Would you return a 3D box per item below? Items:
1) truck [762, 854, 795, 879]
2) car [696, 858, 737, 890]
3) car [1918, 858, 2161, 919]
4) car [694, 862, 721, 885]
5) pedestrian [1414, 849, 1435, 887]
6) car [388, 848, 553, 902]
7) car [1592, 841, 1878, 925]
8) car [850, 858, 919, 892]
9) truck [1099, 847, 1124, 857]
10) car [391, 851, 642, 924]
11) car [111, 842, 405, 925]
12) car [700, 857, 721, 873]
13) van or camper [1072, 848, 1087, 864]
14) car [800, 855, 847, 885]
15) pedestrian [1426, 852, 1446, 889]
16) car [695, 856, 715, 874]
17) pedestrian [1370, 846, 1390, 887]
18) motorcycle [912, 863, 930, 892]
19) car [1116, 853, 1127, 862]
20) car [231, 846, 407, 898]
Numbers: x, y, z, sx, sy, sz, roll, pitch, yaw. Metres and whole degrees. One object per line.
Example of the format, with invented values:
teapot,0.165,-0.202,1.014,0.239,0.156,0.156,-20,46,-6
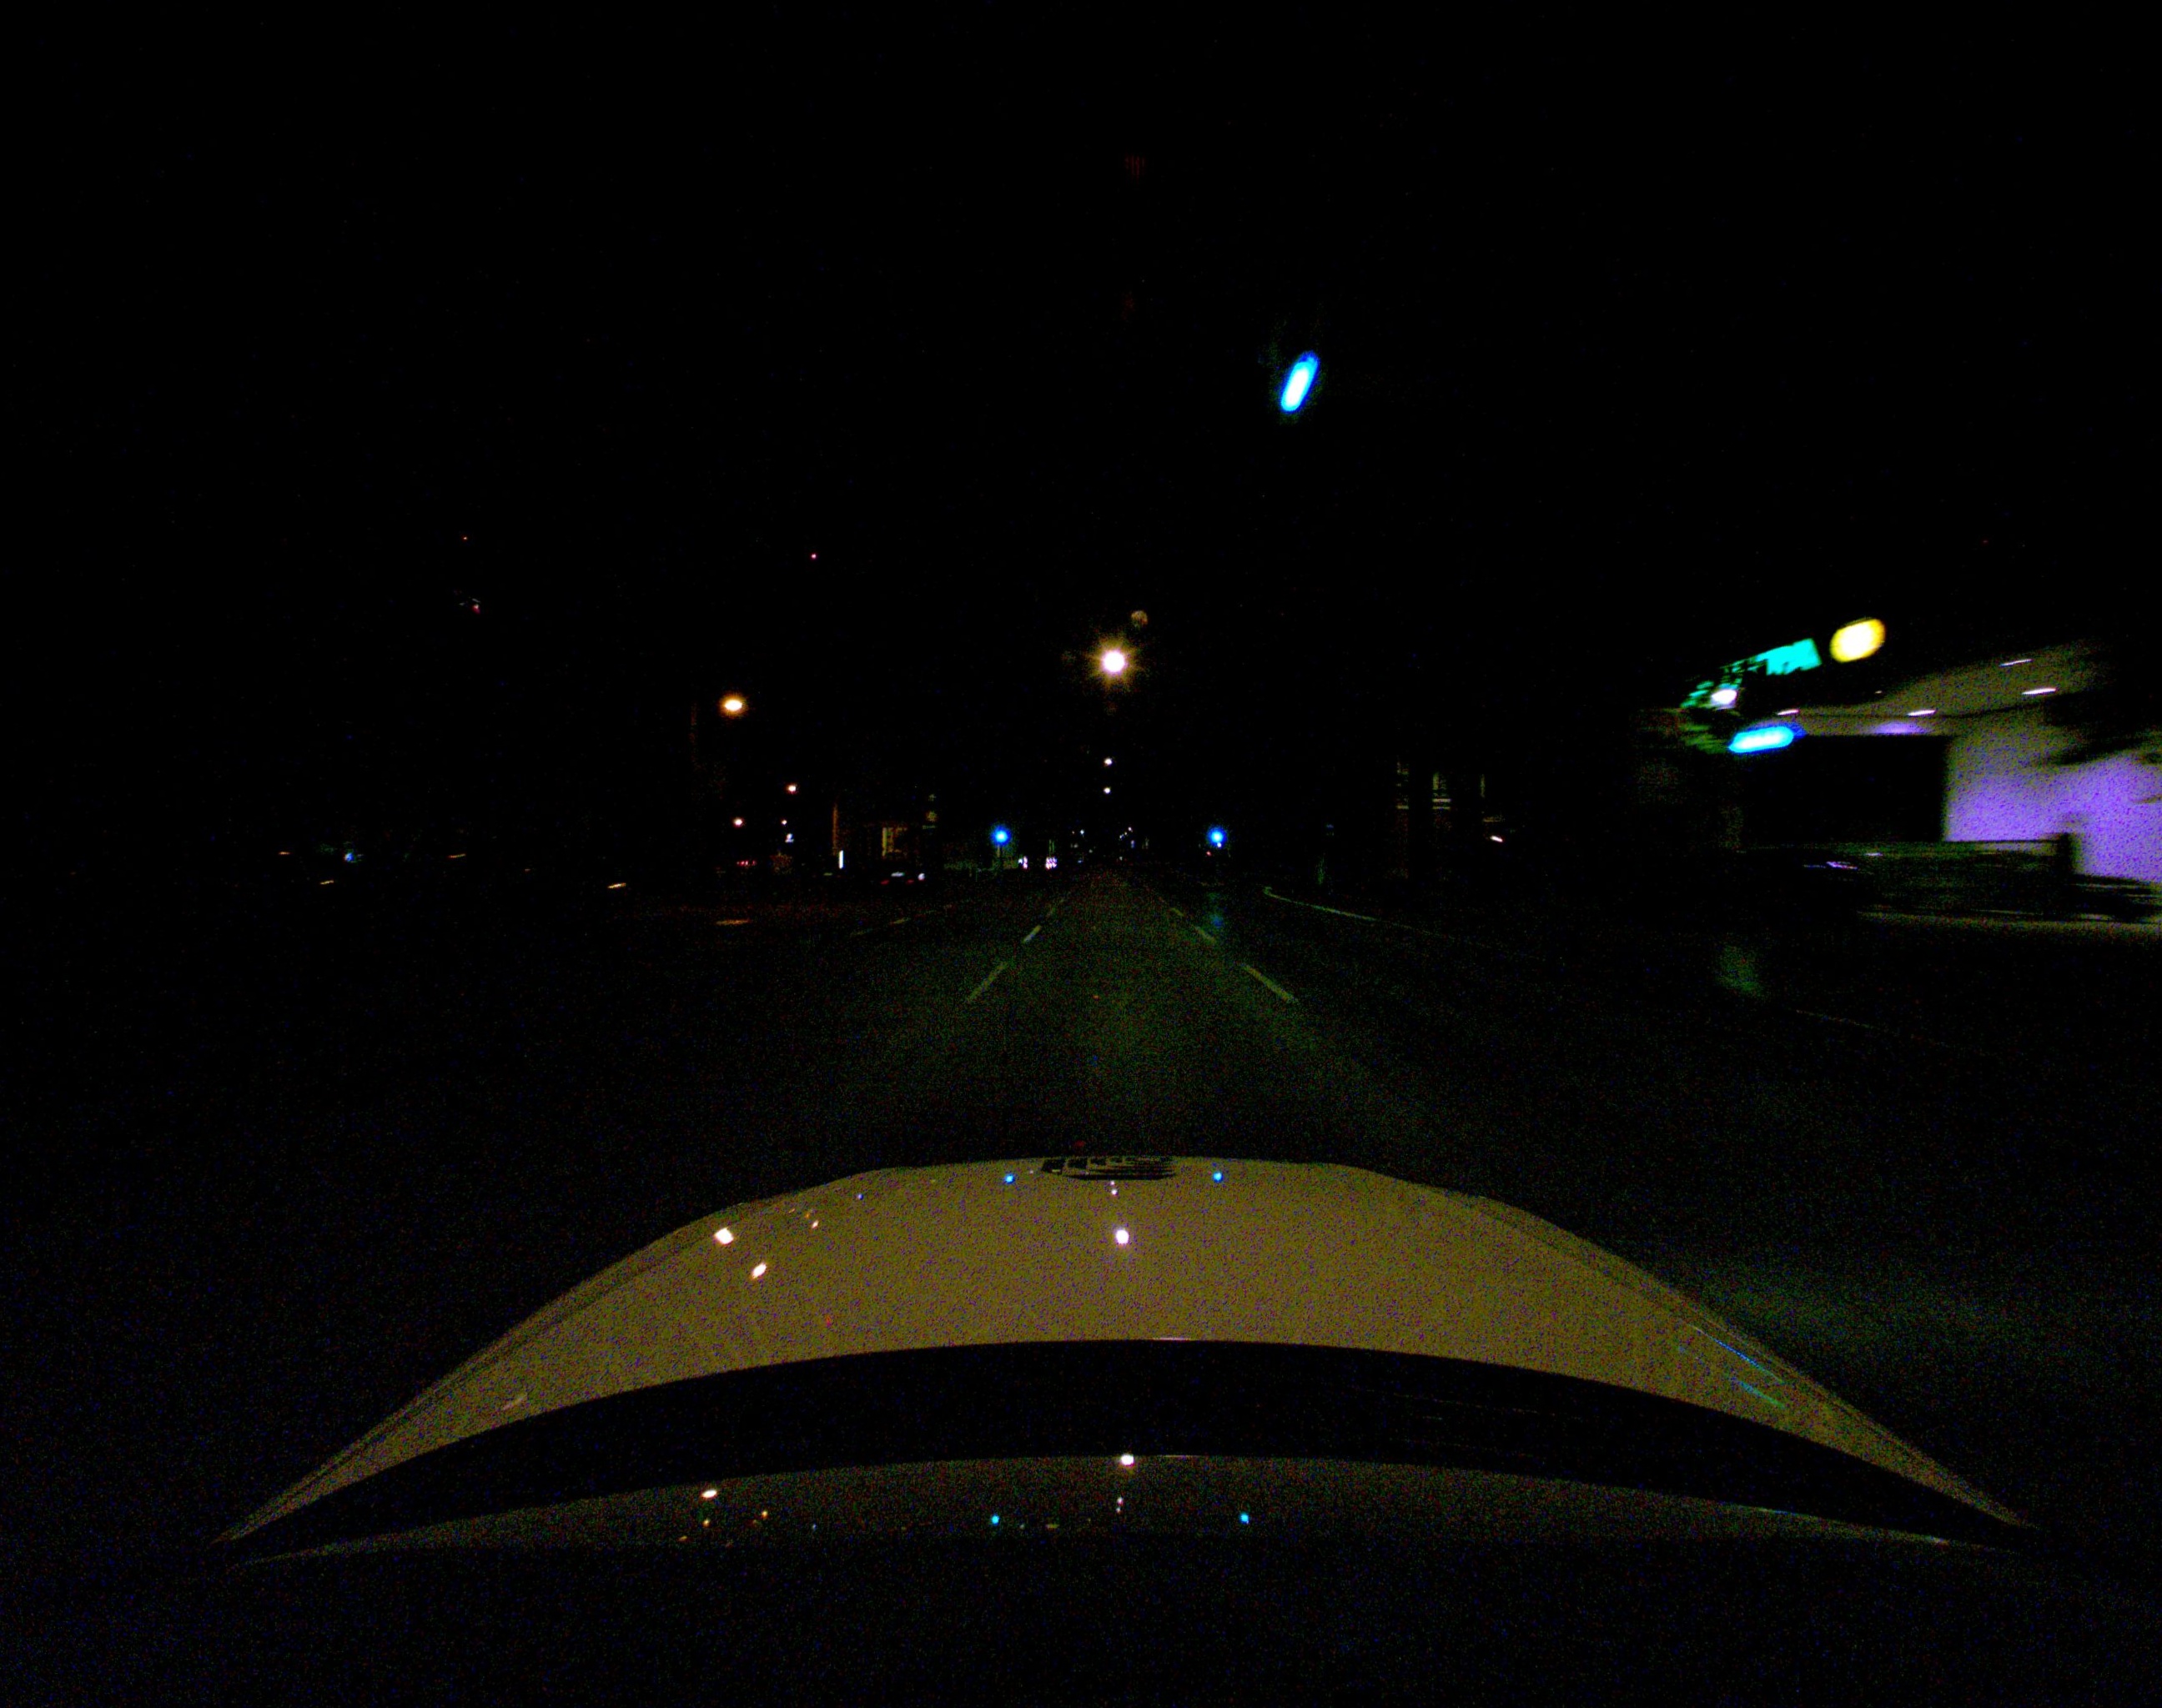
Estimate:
truck,-22.681,0.929,60.895,1.900,1.807,4.078,0,-1,-26
car,-20.162,1.075,44.997,1.847,1.613,4.222,-2,0,-27
car,20.279,0.679,17.284,1.452,1.168,3.540,0,-1,1
car,-25.500,1.302,55.568,1.609,1.489,3.527,-2,0,-25
pedestrian,14.979,0.602,35.557,0.619,1.639,0.679,-1,-1,2
car,-21.451,0.742,28.721,4.320,1.754,1.958,1,-2,3
car,12.442,0.535,15.688,4.067,1.454,1.787,-1,-1,0
car,-9.234,0.948,37.944,1.898,1.424,4.684,-1,0,-30
truck,8.323,-0.556,220.712,6.757,2.844,1.999,0,0,-2
car,-13.559,0.784,19.788,4.645,1.629,2.003,-1,-1,-1
car,-19.678,0.663,19.660,4.972,1.890,2.028,0,0,0
car,-41.035,1.226,90.289,1.905,1.735,3.970,0,-1,-22
van or camper,-0.237,0.377,132.771,2.150,2.535,6.228,-3,-1,1
car,-14.850,0.913,46.801,1.924,1.644,4.075,2,-2,-27
pedestrian,15.000,0.698,34.437,0.570,1.533,0.634,-1,-1,2
car,-38.770,1.120,83.964,1.804,1.809,3.967,0,0,-25
pedestrian,13.283,0.564,36.171,0.619,1.811,0.759,-1,-1,2
motorcycle,-6.824,0.983,34.641,0.573,1.180,2.021,-1,0,-15
car,7.132,0.650,143.094,1.876,1.603,4.111,-2,-1,4
car,-26.914,0.665,28.865,4.321,1.754,1.962,0,-4,3
